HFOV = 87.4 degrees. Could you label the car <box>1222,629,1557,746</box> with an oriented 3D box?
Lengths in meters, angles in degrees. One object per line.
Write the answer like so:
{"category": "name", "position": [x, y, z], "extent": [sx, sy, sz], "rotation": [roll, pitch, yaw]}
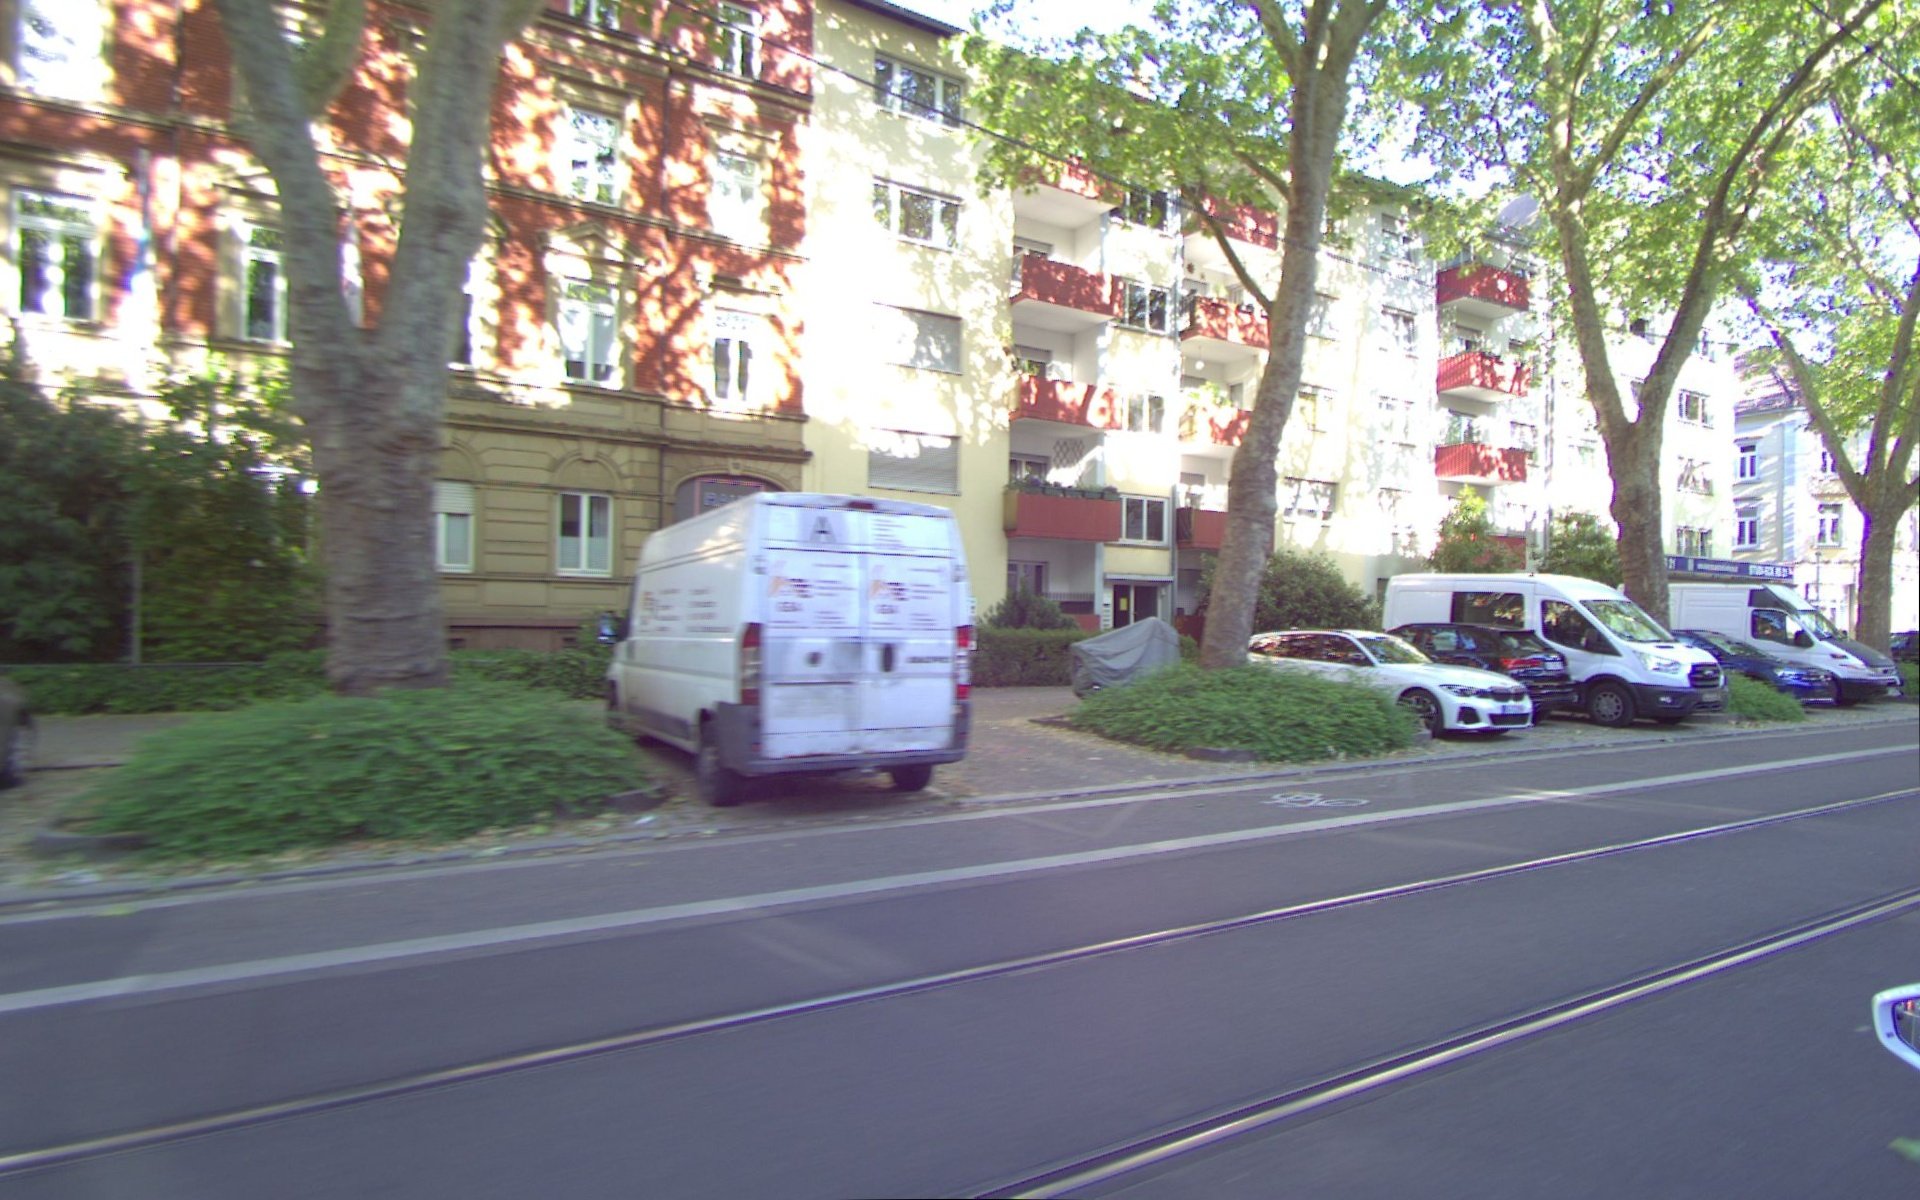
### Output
{"category": "car", "position": [6.220, 1.181, 15.095], "extent": [1.910, 1.403, 4.390], "rotation": [1, -1, -29]}

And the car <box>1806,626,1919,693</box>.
{"category": "car", "position": [24.981, 1.555, 26.292], "extent": [1.872, 1.669, 3.967], "rotation": [1, -1, -31]}

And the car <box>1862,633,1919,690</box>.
{"category": "car", "position": [27.431, 1.714, 27.336], "extent": [1.751, 1.542, 3.967], "rotation": [1, -1, -30]}

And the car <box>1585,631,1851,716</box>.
{"category": "car", "position": [15.507, 1.429, 20.772], "extent": [1.849, 1.485, 4.002], "rotation": [1, -1, -29]}

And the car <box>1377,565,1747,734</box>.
{"category": "car", "position": [10.292, 0.786, 17.724], "extent": [2.032, 2.510, 5.337], "rotation": [1, -1, -29]}

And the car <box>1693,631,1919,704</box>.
{"category": "car", "position": [19.782, 1.514, 23.540], "extent": [1.839, 1.498, 3.836], "rotation": [1, -1, -30]}

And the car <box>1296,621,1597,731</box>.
{"category": "car", "position": [8.069, 1.168, 17.089], "extent": [1.850, 1.559, 4.351], "rotation": [1, -1, -29]}

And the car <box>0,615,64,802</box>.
{"category": "car", "position": [-7.999, 0.835, 7.002], "extent": [1.683, 1.451, 3.794], "rotation": [1, -1, -27]}

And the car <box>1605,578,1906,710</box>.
{"category": "car", "position": [17.561, 0.912, 22.466], "extent": [2.060, 2.601, 4.916], "rotation": [1, -1, -32]}

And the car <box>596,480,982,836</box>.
{"category": "car", "position": [-2.132, 0.437, 10.289], "extent": [2.136, 2.570, 5.715], "rotation": [1, 0, -29]}
